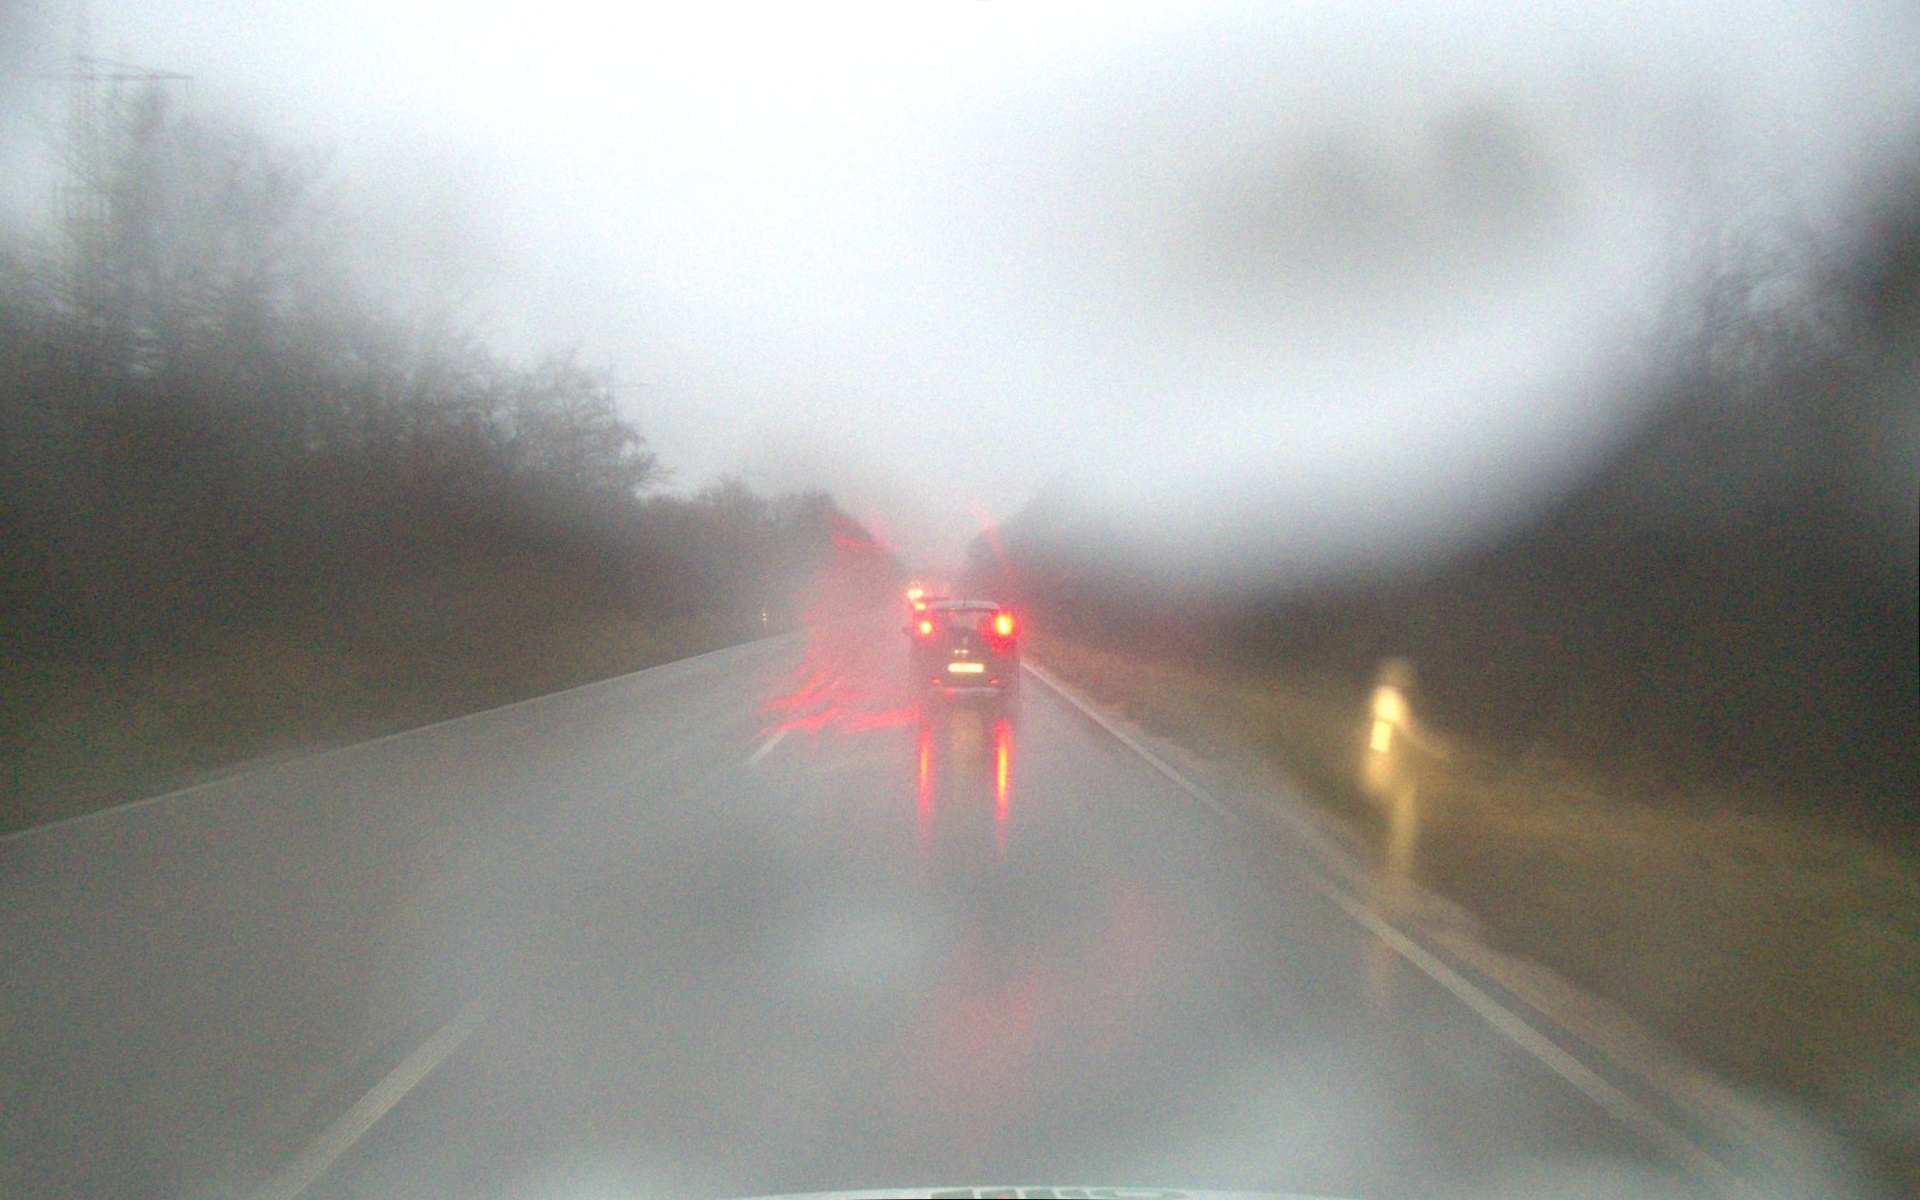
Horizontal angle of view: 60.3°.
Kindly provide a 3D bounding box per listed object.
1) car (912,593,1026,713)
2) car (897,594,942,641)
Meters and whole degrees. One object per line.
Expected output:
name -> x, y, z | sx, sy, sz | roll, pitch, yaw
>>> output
car -> 0.107, 0.767, 25.586 | 1.614, 1.701, 3.513 | 1, 0, -1
car -> -1.583, 0.678, 65.549 | 1.698, 1.810, 3.999 | 1, 0, -1
